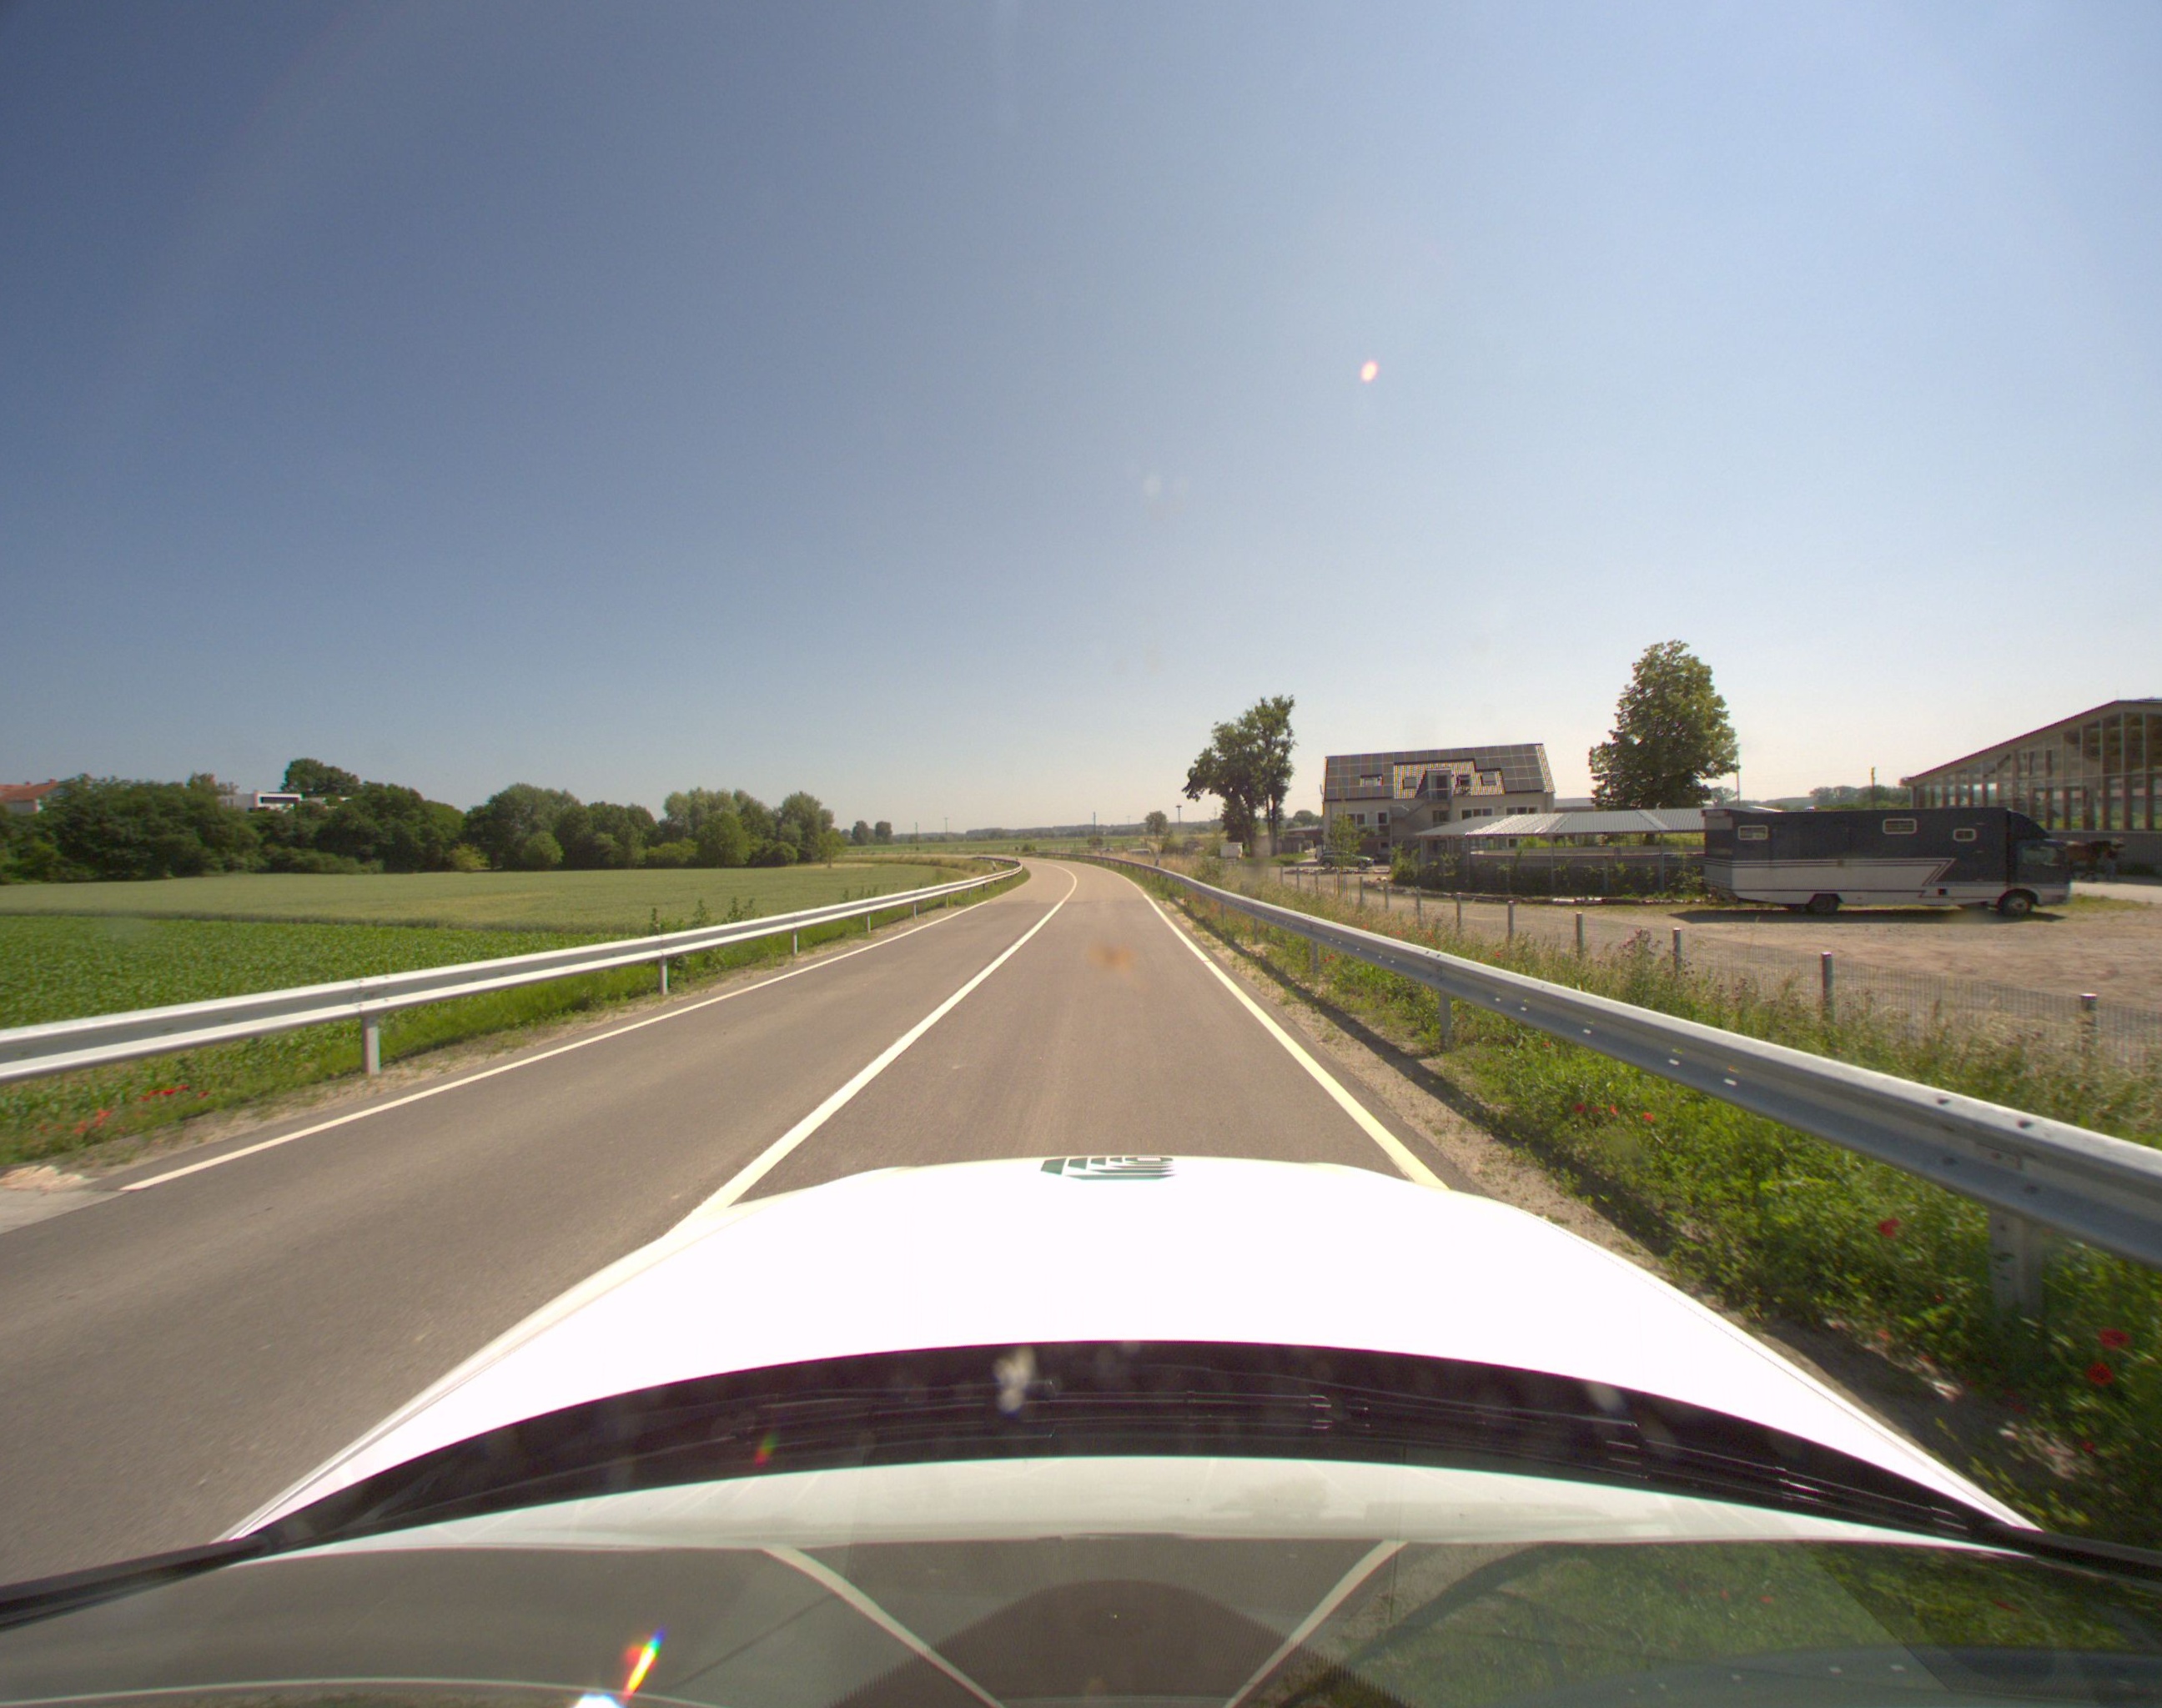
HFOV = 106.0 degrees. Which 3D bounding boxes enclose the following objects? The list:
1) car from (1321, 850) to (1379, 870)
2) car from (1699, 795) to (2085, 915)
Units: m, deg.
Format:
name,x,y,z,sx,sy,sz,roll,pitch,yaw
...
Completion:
name,x,y,z,sx,sy,sz,roll,pitch,yaw
car,21.693,0.447,65.724,4.321,1.580,1.944,0,0,22
car,26.738,0.058,27.522,8.892,3.652,2.794,-1,1,20
